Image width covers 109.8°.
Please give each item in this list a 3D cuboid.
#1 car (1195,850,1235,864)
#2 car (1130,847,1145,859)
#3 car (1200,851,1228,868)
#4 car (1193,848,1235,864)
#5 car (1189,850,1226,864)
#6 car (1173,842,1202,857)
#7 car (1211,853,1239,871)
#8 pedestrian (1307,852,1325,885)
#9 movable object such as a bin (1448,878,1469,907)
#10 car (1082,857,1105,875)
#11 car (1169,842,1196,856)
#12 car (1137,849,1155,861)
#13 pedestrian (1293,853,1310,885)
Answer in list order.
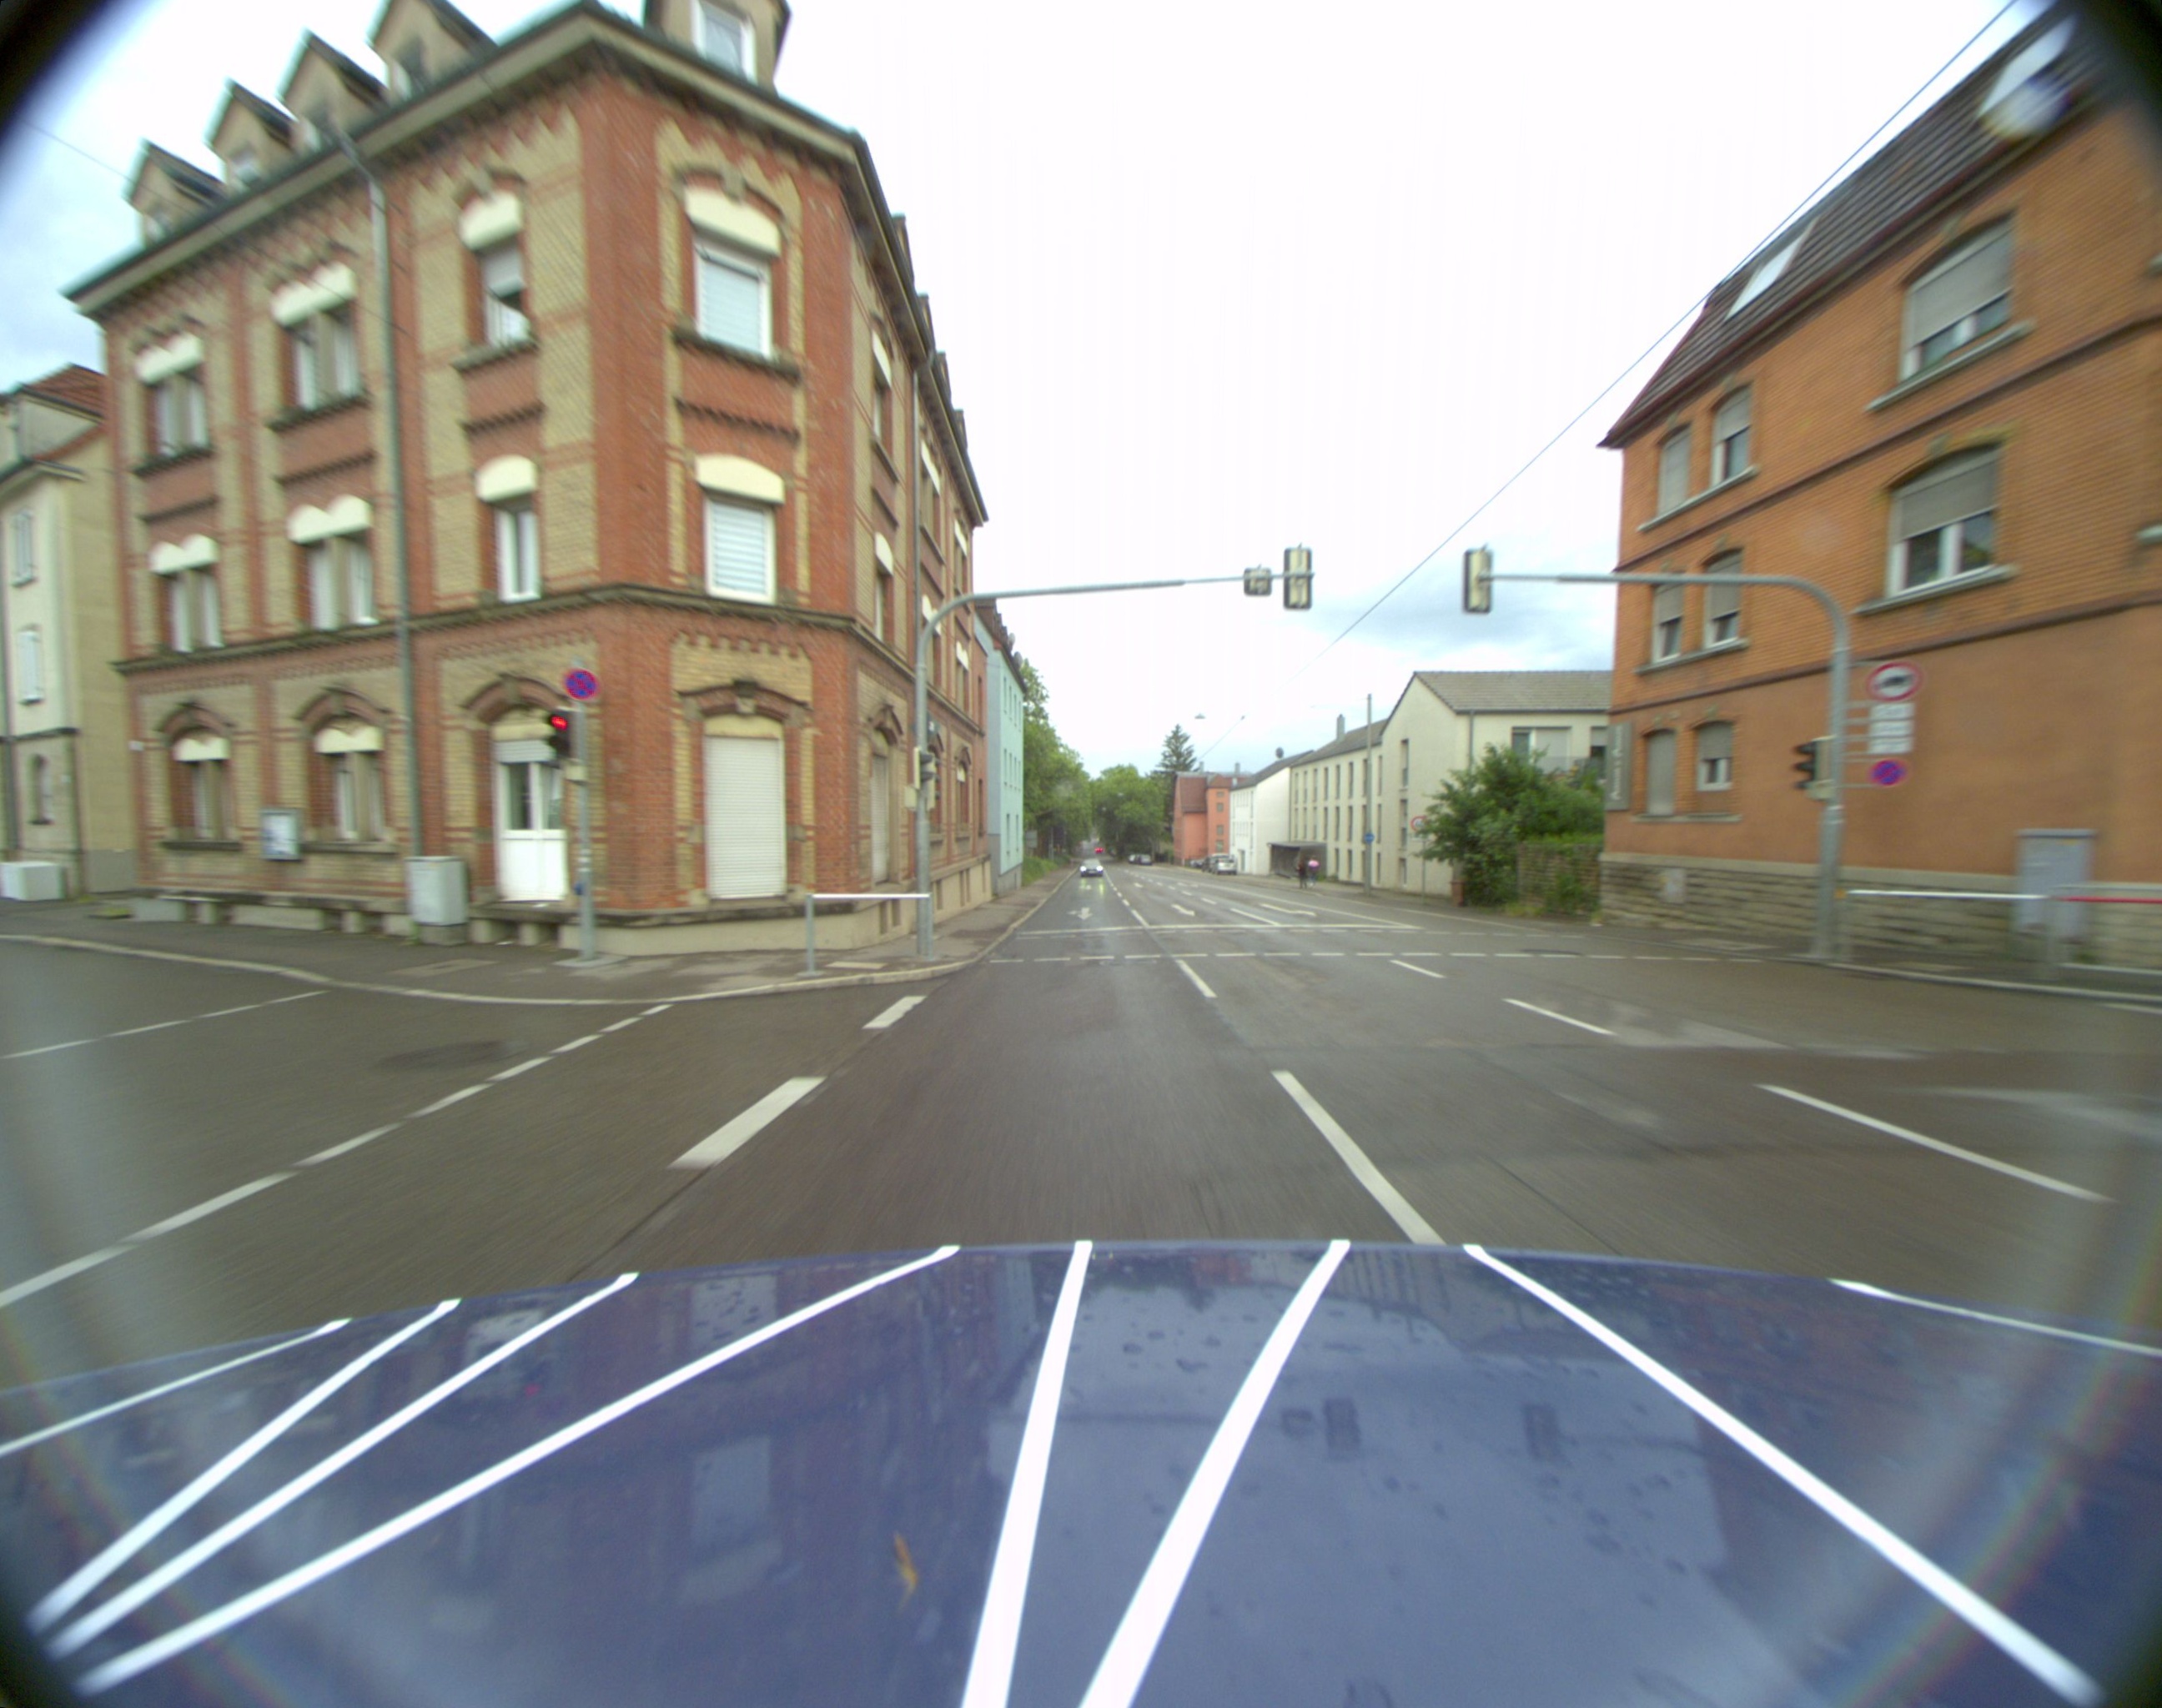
[{"bbox_3d":[14.985,0.333,85.055,4.135,1.456,1.895,-2,1,2],"label":"car"},{"bbox_3d":[8.218,-0.129,110.871,1.816,1.537,4.198,3,1,0],"label":"car"},{"bbox_3d":[13.085,0.544,74.760,1.750,1.543,4.081,-3,1,-4],"label":"car"},{"bbox_3d":[15.326,0.212,87.618,4.542,1.599,2.153,-3,1,3],"label":"car"},{"bbox_3d":[14.984,0.359,90.129,4.171,1.425,2.000,-3,1,3],"label":"car"},{"bbox_3d":[15.818,-0.653,113.135,3.997,2.002,1.999,-2,2,-1],"label":"car"},{"bbox_3d":[12.795,0.661,67.639,1.749,1.499,4.177,-1,1,1],"label":"car"},{"bbox_3d":[12.474,0.772,40.362,0.642,1.696,0.911,-1,1,2],"label":"pedestrian"},{"bbox_3d":[12.974,1.319,26.129,0.410,0.919,0.525,-2,2,-6],"label":"movable object such as a bin"},{"bbox_3d":[1.051,0.967,62.988,1.842,1.403,3.999,-1,1,1],"label":"car"},{"bbox_3d":[15.596,-0.728,116.952,3.994,2.002,2.001,-2,2,8],"label":"car"},{"bbox_3d":[8.545,0.098,99.715,1.789,1.402,4.197,1,1,-2],"label":"car"},{"bbox_3d":[11.725,0.785,40.434,0.642,1.696,0.911,-1,1,2],"label":"pedestrian"}]
